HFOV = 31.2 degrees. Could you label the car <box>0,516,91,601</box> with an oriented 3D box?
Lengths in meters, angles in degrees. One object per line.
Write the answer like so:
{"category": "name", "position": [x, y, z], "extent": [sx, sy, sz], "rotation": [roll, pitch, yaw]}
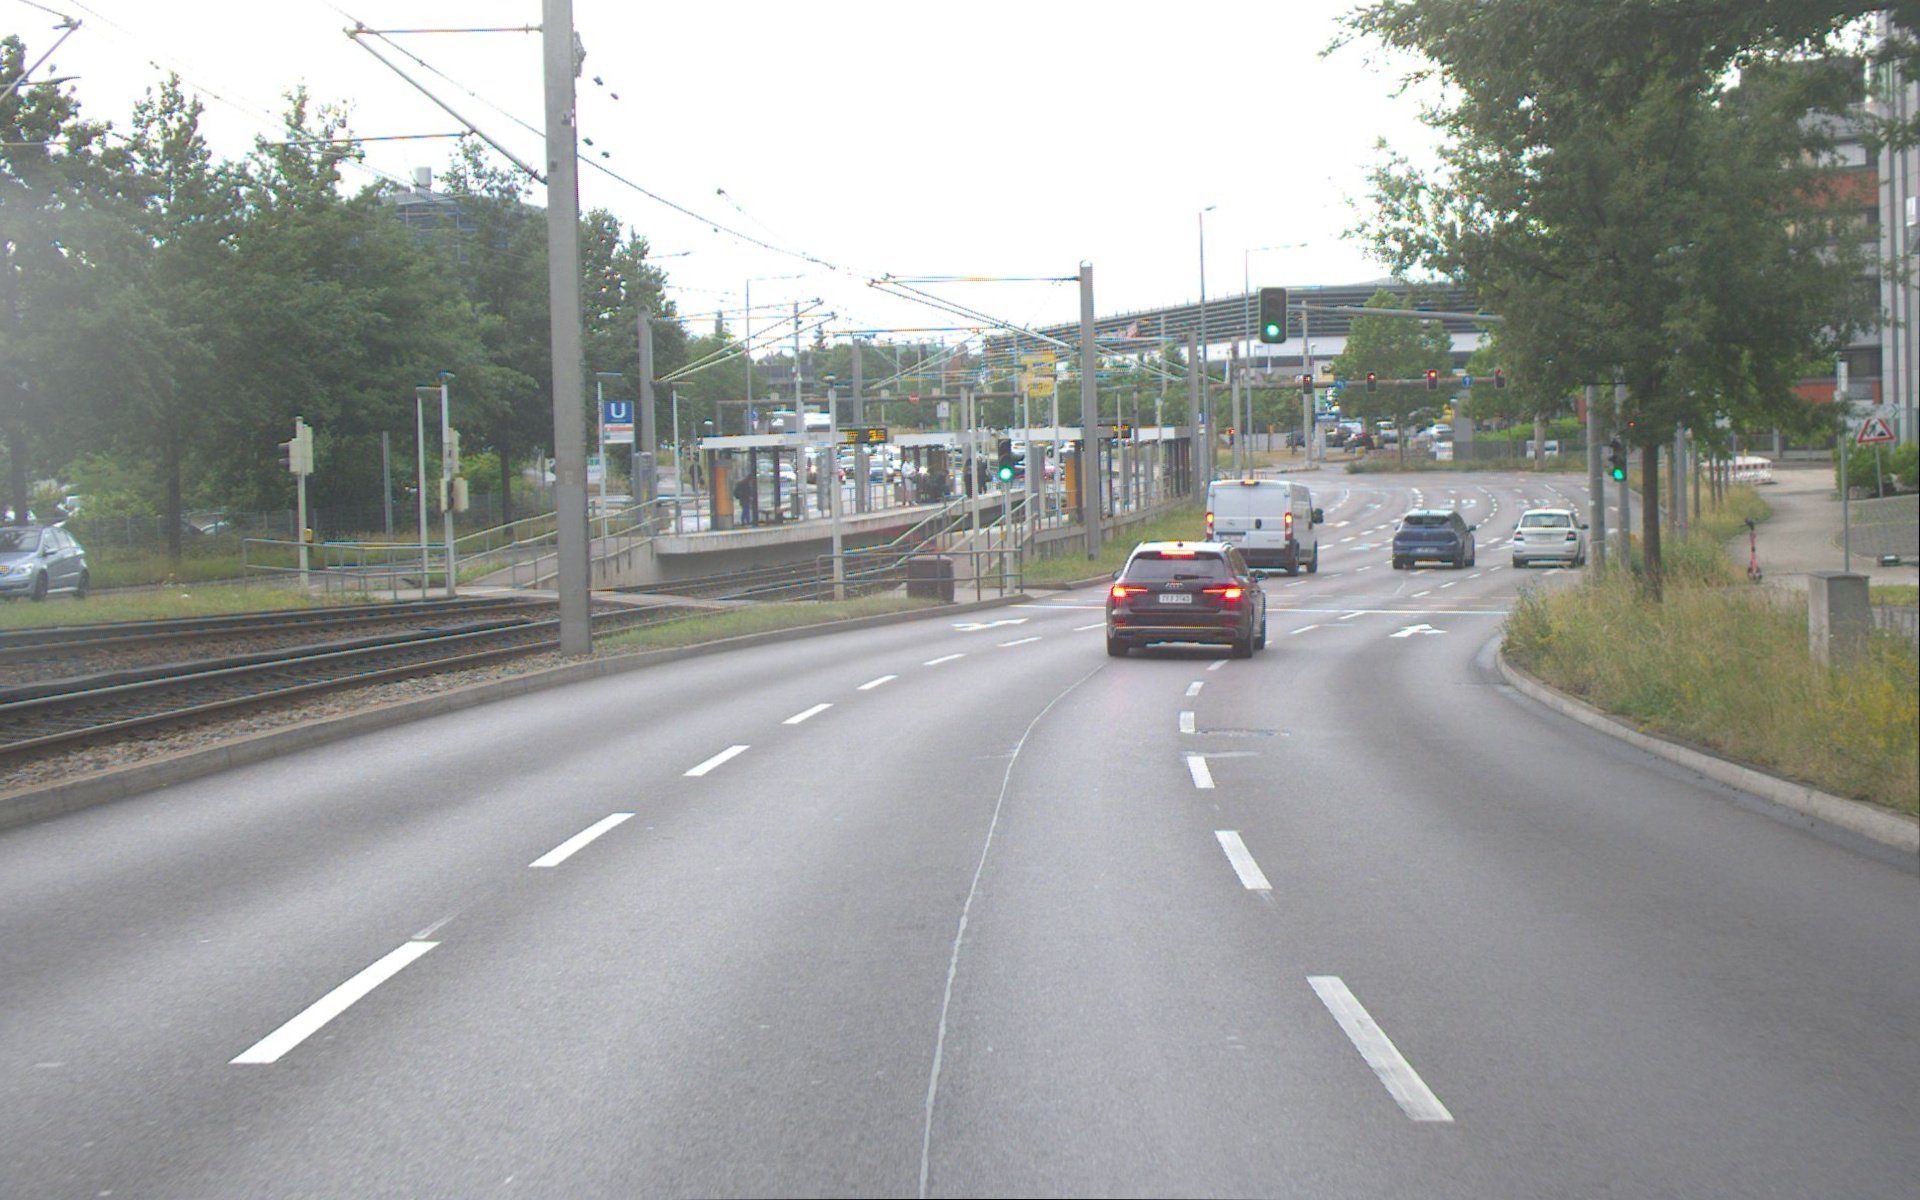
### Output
{"category": "car", "position": [-19.435, -0.880, 70.543], "extent": [1.994, 1.674, 4.000], "rotation": [0, 1, 4]}

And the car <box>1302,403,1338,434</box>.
{"category": "car", "position": [25.706, -12.956, 245.593], "extent": [1.993, 2.007, 4.000], "rotation": [0, 0, -2]}

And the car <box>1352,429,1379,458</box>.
{"category": "car", "position": [30.512, -11.797, 258.894], "extent": [1.818, 2.007, 3.470], "rotation": [0, 0, 3]}

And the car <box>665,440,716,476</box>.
{"category": "car", "position": [-16.647, -8.739, 212.216], "extent": [1.993, 2.007, 4.001], "rotation": [1, 0, -23]}

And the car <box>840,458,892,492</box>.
{"category": "car", "position": [-6.032, -7.973, 220.207], "extent": [1.993, 2.007, 4.001], "rotation": [1, 0, -23]}

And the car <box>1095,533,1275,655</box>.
{"category": "car", "position": [2.900, -0.121, 43.539], "extent": [1.765, 1.458, 4.625], "rotation": [0, 1, 10]}

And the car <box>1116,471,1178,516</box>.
{"category": "car", "position": [7.060, -4.022, 129.577], "extent": [1.994, 1.447, 3.847], "rotation": [0, 5, 9]}

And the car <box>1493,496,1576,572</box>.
{"category": "car", "position": [14.606, -1.704, 87.525], "extent": [2.022, 1.763, 3.999], "rotation": [0, 3, 9]}

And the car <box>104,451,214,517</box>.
{"category": "car", "position": [-25.771, -3.729, 110.736], "extent": [1.994, 2.007, 3.998], "rotation": [0, 0, 11]}

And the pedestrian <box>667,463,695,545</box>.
{"category": "pedestrian", "position": [-6.678, -2.294, 82.400], "extent": [0.549, 1.946, 0.664], "rotation": [0, 0, 5]}

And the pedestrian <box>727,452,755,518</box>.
{"category": "pedestrian", "position": [-6.231, -3.277, 97.751], "extent": [0.637, 1.848, 0.750], "rotation": [0, 0, 8]}

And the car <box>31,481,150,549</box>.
{"category": "car", "position": [-26.648, -2.589, 105.489], "extent": [1.994, 2.007, 3.998], "rotation": [0, 0, 11]}

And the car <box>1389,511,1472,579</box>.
{"category": "car", "position": [11.861, -1.372, 86.777], "extent": [2.022, 1.617, 3.999], "rotation": [0, 0, 7]}

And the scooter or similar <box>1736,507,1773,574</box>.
{"category": "scooter or similar", "position": [15.371, -1.150, 66.509], "extent": [0.457, 1.259, 1.337], "rotation": [-3, 1, 5]}

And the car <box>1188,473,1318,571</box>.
{"category": "car", "position": [6.994, -1.815, 81.575], "extent": [2.512, 2.170, 5.147], "rotation": [0, 0, 11]}

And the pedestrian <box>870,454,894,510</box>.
{"category": "pedestrian", "position": [-2.892, -4.350, 126.985], "extent": [0.855, 2.007, 1.041], "rotation": [0, 0, -1]}

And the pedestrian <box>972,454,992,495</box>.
{"category": "pedestrian", "position": [0.952, -5.382, 147.483], "extent": [0.752, 1.745, 0.763], "rotation": [0, 0, 9]}
